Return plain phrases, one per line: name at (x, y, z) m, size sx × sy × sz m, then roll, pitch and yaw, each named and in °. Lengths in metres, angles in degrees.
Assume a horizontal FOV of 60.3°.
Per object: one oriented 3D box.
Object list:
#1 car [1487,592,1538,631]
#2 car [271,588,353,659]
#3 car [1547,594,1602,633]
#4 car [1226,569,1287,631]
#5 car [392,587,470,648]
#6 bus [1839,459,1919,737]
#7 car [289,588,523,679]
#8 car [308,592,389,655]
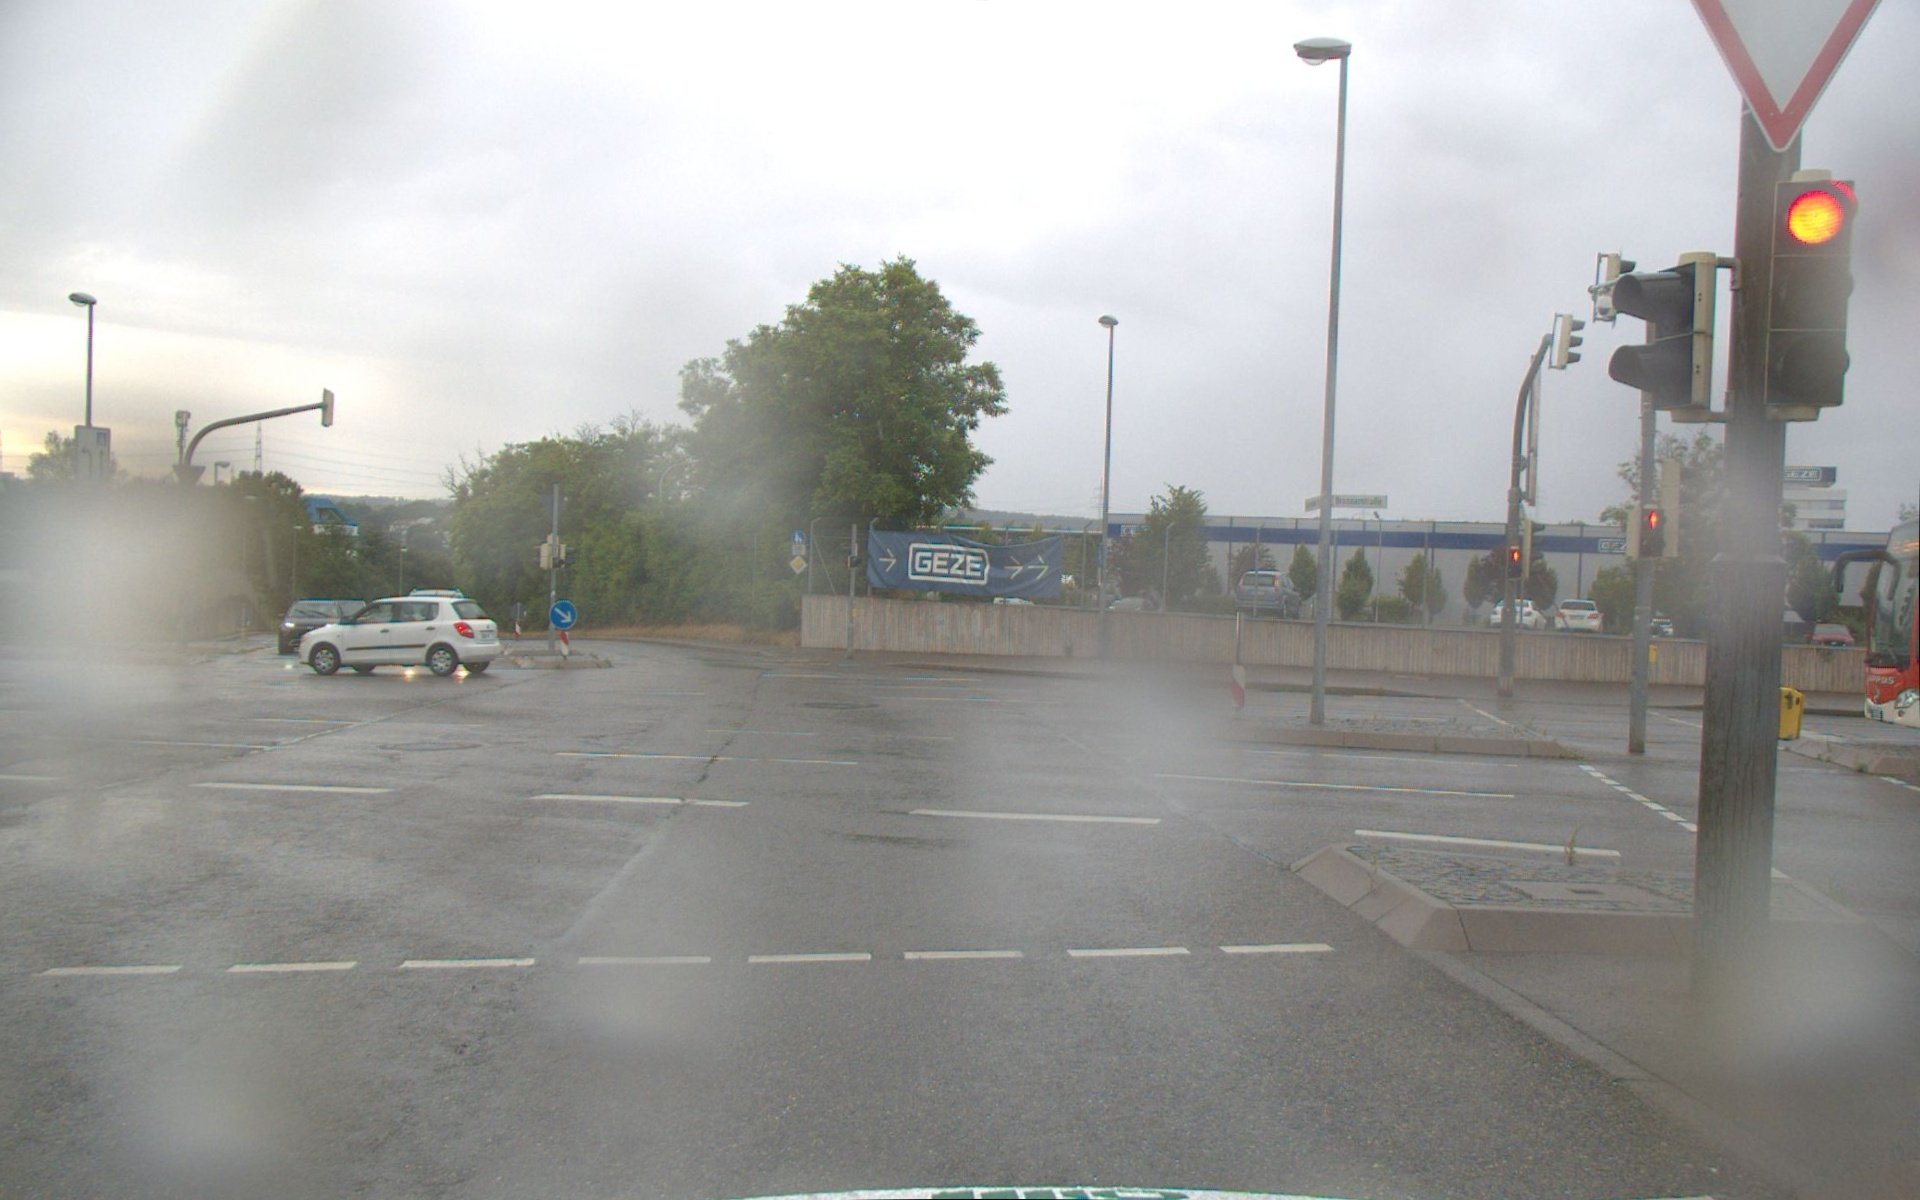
car at (22.948, 0.459, 68.650) m, size 1.952 × 1.504 × 4.001 m, roll 2°, pitch 0°, yaw 19°
car at (-18.699, 0.643, 47.889) m, size 1.963 × 1.928 × 3.979 m, roll 2°, pitch 0°, yaw -19°
car at (25.244, 0.528, 68.061) m, size 1.952 × 1.504 × 4.001 m, roll 2°, pitch 0°, yaw 19°
car at (10.383, -0.002, 57.844) m, size 1.951 × 2.049 × 4.003 m, roll 1°, pitch 0°, yaw 11°
car at (-15.570, 0.486, 48.879) m, size 1.961 × 1.646 × 3.984 m, roll 1°, pitch 0°, yaw -15°
bus at (17.660, 0.244, 19.904) m, size 12.020 × 3.379 × 3.076 m, roll 3°, pitch 1°, yaw 17°
car at (-10.933, 0.635, 32.761) m, size 3.902 × 1.624 × 1.959 m, roll 2°, pitch 0°, yaw 9°
car at (-20.319, 0.755, 55.133) m, size 1.959 × 1.928 × 3.988 m, roll 1°, pitch 0°, yaw -13°
